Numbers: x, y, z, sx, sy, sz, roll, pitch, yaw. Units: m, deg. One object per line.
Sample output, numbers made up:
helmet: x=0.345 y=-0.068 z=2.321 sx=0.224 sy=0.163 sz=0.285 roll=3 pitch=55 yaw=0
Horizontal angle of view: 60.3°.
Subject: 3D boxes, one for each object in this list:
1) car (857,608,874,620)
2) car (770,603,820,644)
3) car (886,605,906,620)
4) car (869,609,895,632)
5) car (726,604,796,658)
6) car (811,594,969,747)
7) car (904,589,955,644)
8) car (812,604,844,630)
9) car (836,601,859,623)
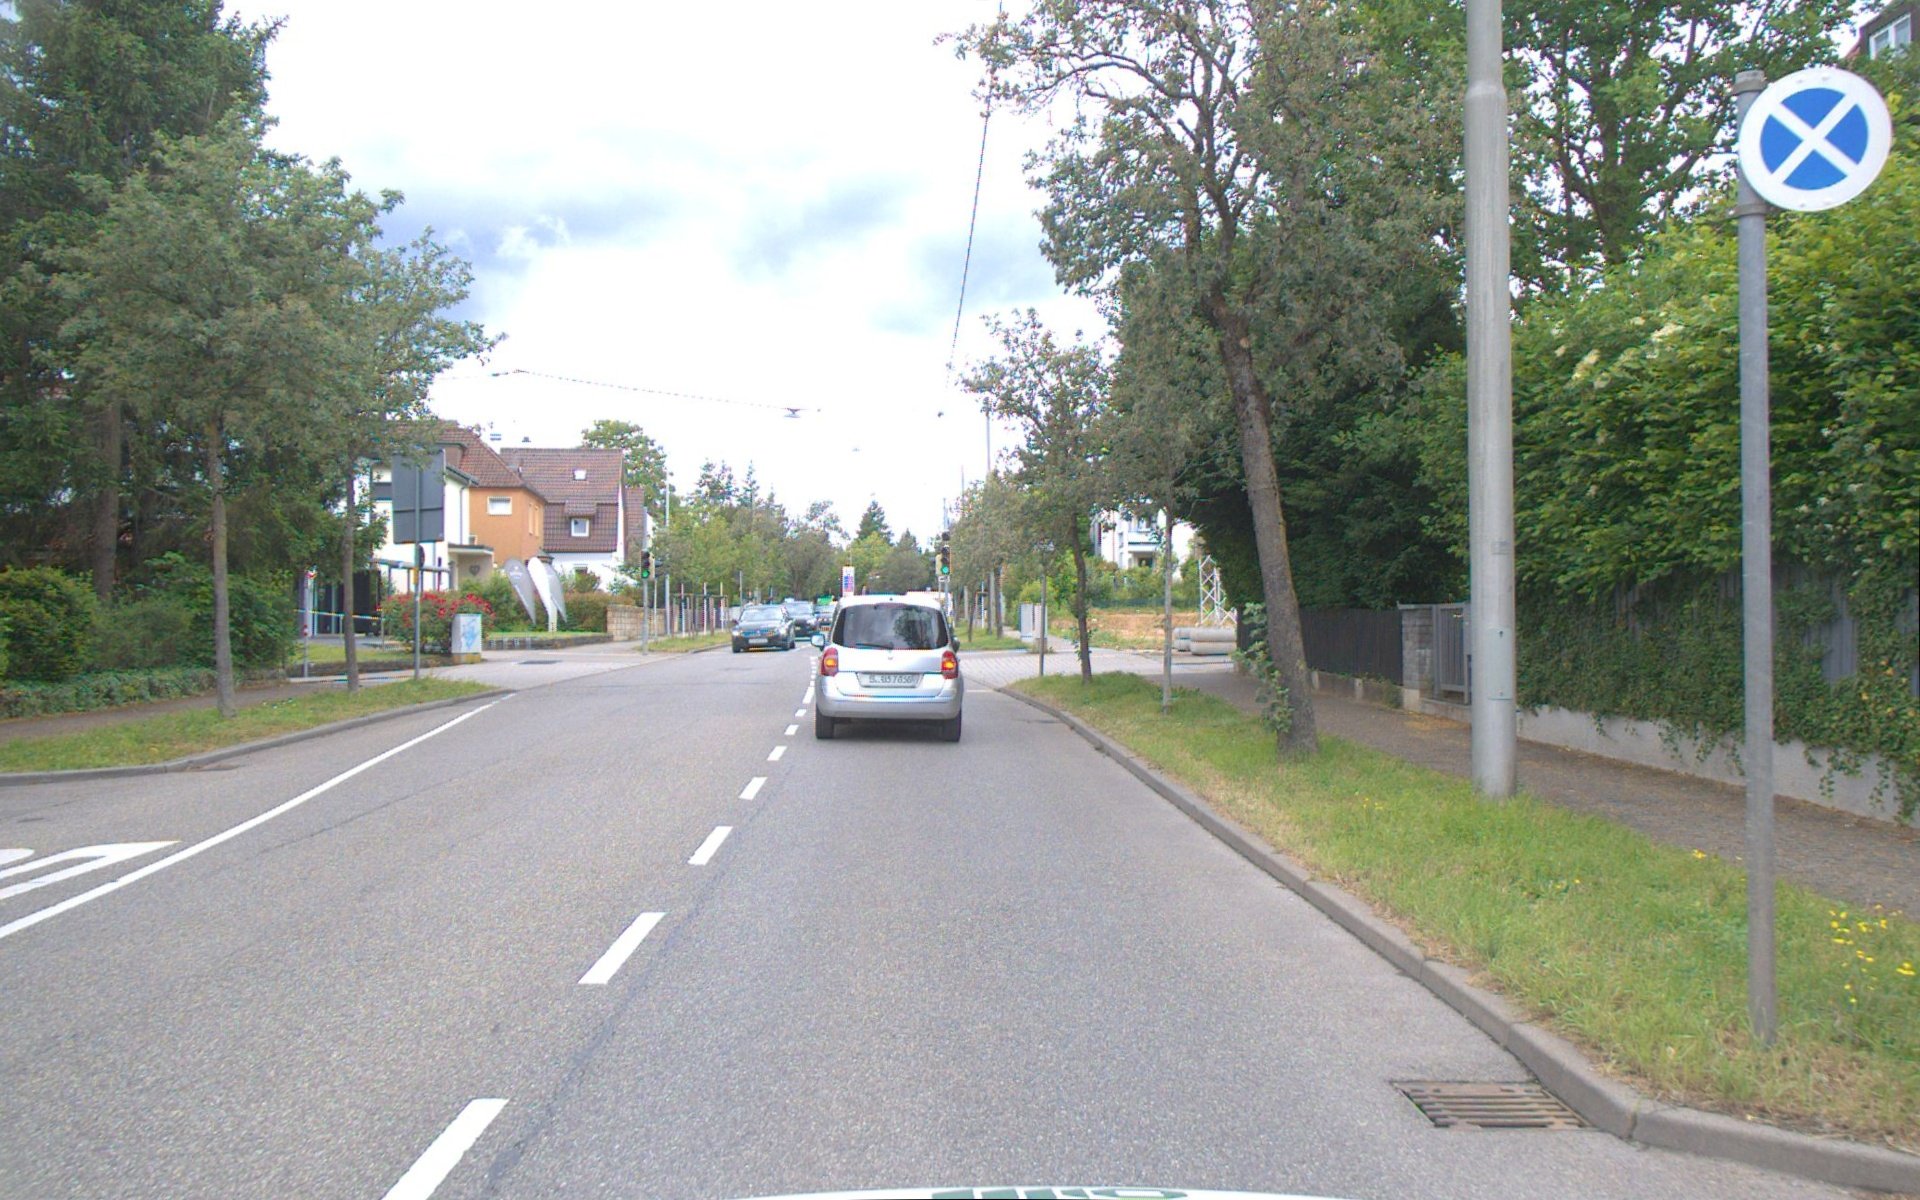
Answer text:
car: x=-11.880 y=1.747 z=207.022 sx=1.665 sy=1.532 sz=3.962 roll=0 pitch=0 yaw=-10
car: x=-6.809 y=0.946 z=68.601 sx=1.857 sy=1.653 sz=3.998 roll=0 pitch=0 yaw=-3
car: x=-6.227 y=1.188 z=160.675 sx=1.597 sy=1.477 sz=3.868 roll=0 pitch=0 yaw=-9
car: x=-6.338 y=1.676 z=134.224 sx=1.800 sy=1.744 sz=3.994 roll=-2 pitch=0 yaw=-6
car: x=-6.444 y=0.971 z=54.037 sx=1.954 sy=1.649 sz=4.645 roll=-1 pitch=0 yaw=-3
car: x=-0.807 y=0.755 z=19.297 sx=1.645 sy=1.587 sz=3.510 roll=1 pitch=0 yaw=-2
car: x=-1.195 y=0.603 z=62.377 sx=1.739 sy=1.977 sz=4.785 roll=1 pitch=0 yaw=-3
car: x=-7.726 y=0.984 z=97.126 sx=1.583 sy=1.498 sz=3.999 roll=-2 pitch=0 yaw=-1
car: x=-9.423 y=1.010 z=138.645 sx=1.778 sy=1.722 sz=4.463 roll=-2 pitch=0 yaw=-3
